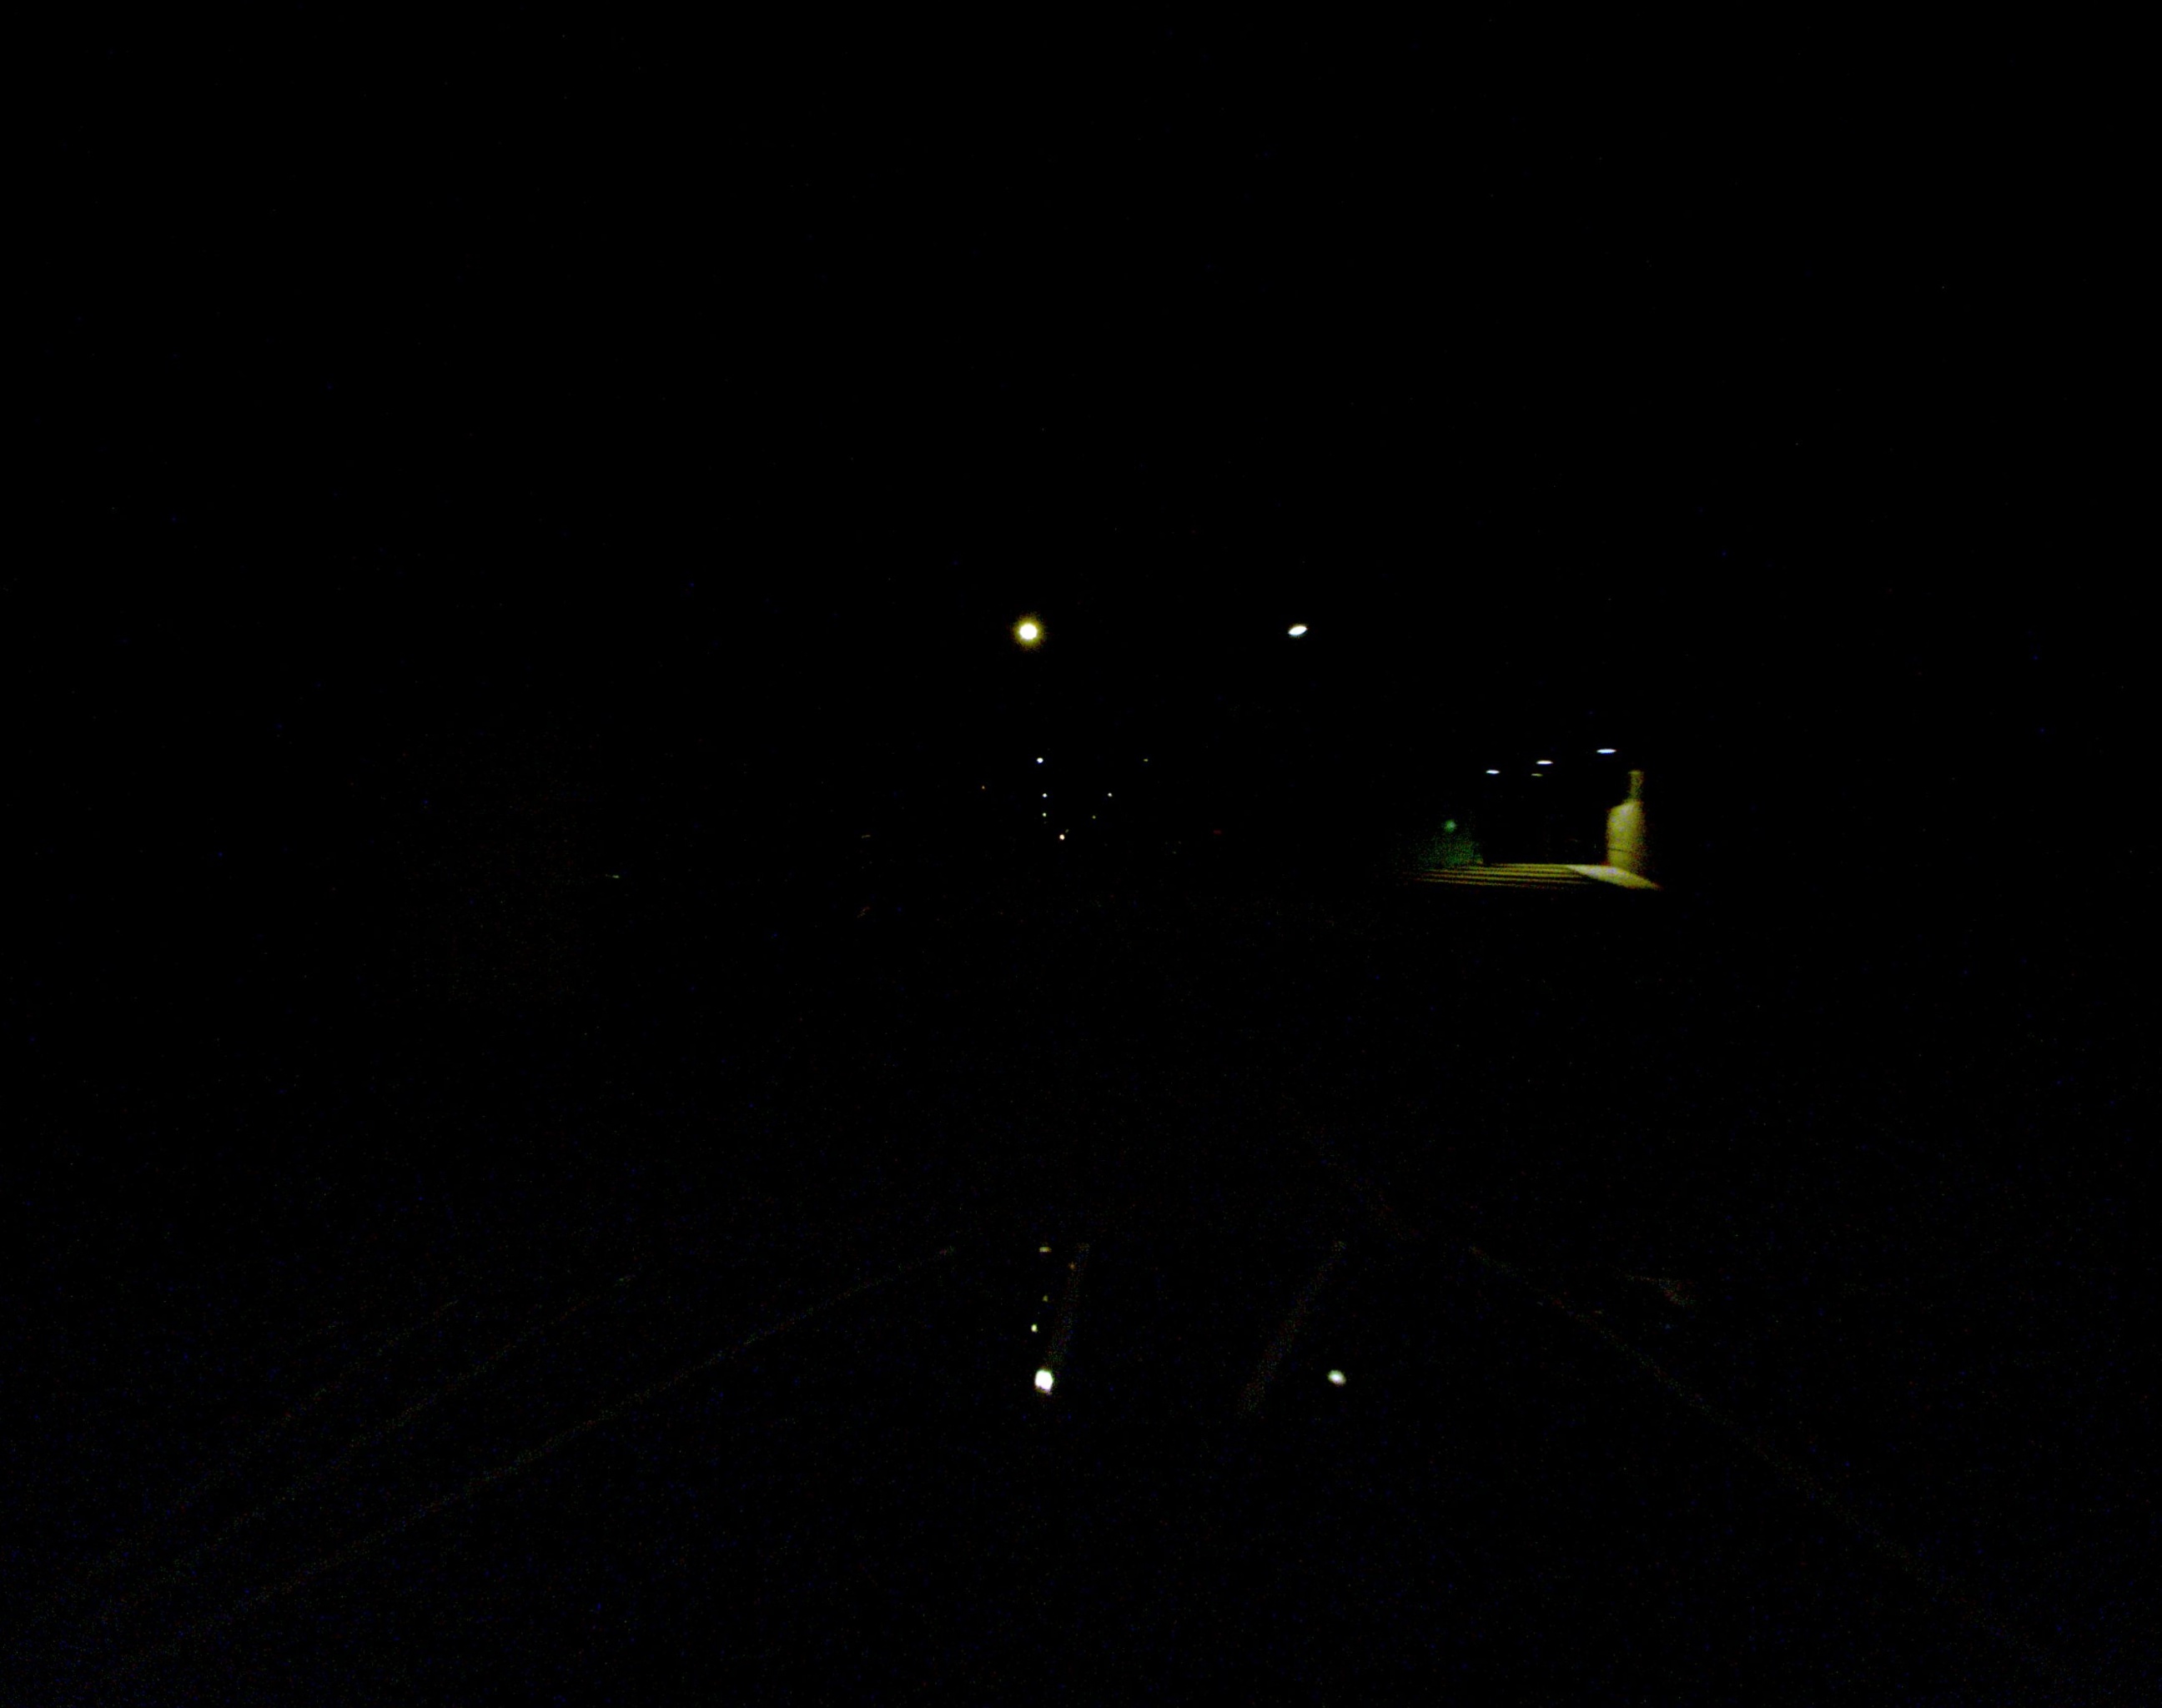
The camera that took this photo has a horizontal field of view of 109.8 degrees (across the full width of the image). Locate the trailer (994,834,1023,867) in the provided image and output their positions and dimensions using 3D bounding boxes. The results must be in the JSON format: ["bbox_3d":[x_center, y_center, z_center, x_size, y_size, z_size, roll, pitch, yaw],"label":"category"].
[{"bbox_3d":[-6.042,-0.272,63.672,1.998,2.635,4.000,0,0,1],"label":"trailer"}]

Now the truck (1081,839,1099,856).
[{"bbox_3d":[2.050,-1.390,171.302,2.830,3.610,10.395,0,0,-6],"label":"truck"}]

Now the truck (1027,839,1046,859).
[{"bbox_3d":[-8.678,-1.018,150.856,2.515,3.815,12.659,0,0,2],"label":"truck"}]

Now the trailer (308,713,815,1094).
[{"bbox_3d":[-4.232,0.313,7.442,1.636,2.459,5.026,0,0,-2],"label":"trailer"}]

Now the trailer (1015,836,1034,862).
[{"bbox_3d":[-7.402,-0.650,98.729,2.405,3.306,4.360,0,0,-5],"label":"trailer"}]

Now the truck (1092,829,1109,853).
[{"bbox_3d":[3.576,-2.472,143.011,2.644,4.290,12.820,2,1,0],"label":"truck"}]

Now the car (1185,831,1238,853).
[{"bbox_3d":[12.003,-1.104,70.000,4.444,1.960,1.999,0,1,-3],"label":"car"}]

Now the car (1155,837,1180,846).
[{"bbox_3d":[14.768,-2.135,129.617,3.999,1.455,1.805,-3,1,-5],"label":"car"}]

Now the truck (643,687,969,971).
[{"bbox_3d":[-4.407,-0.402,14.995,3.333,3.846,9.324,0,1,-2],"label":"truck"}]
